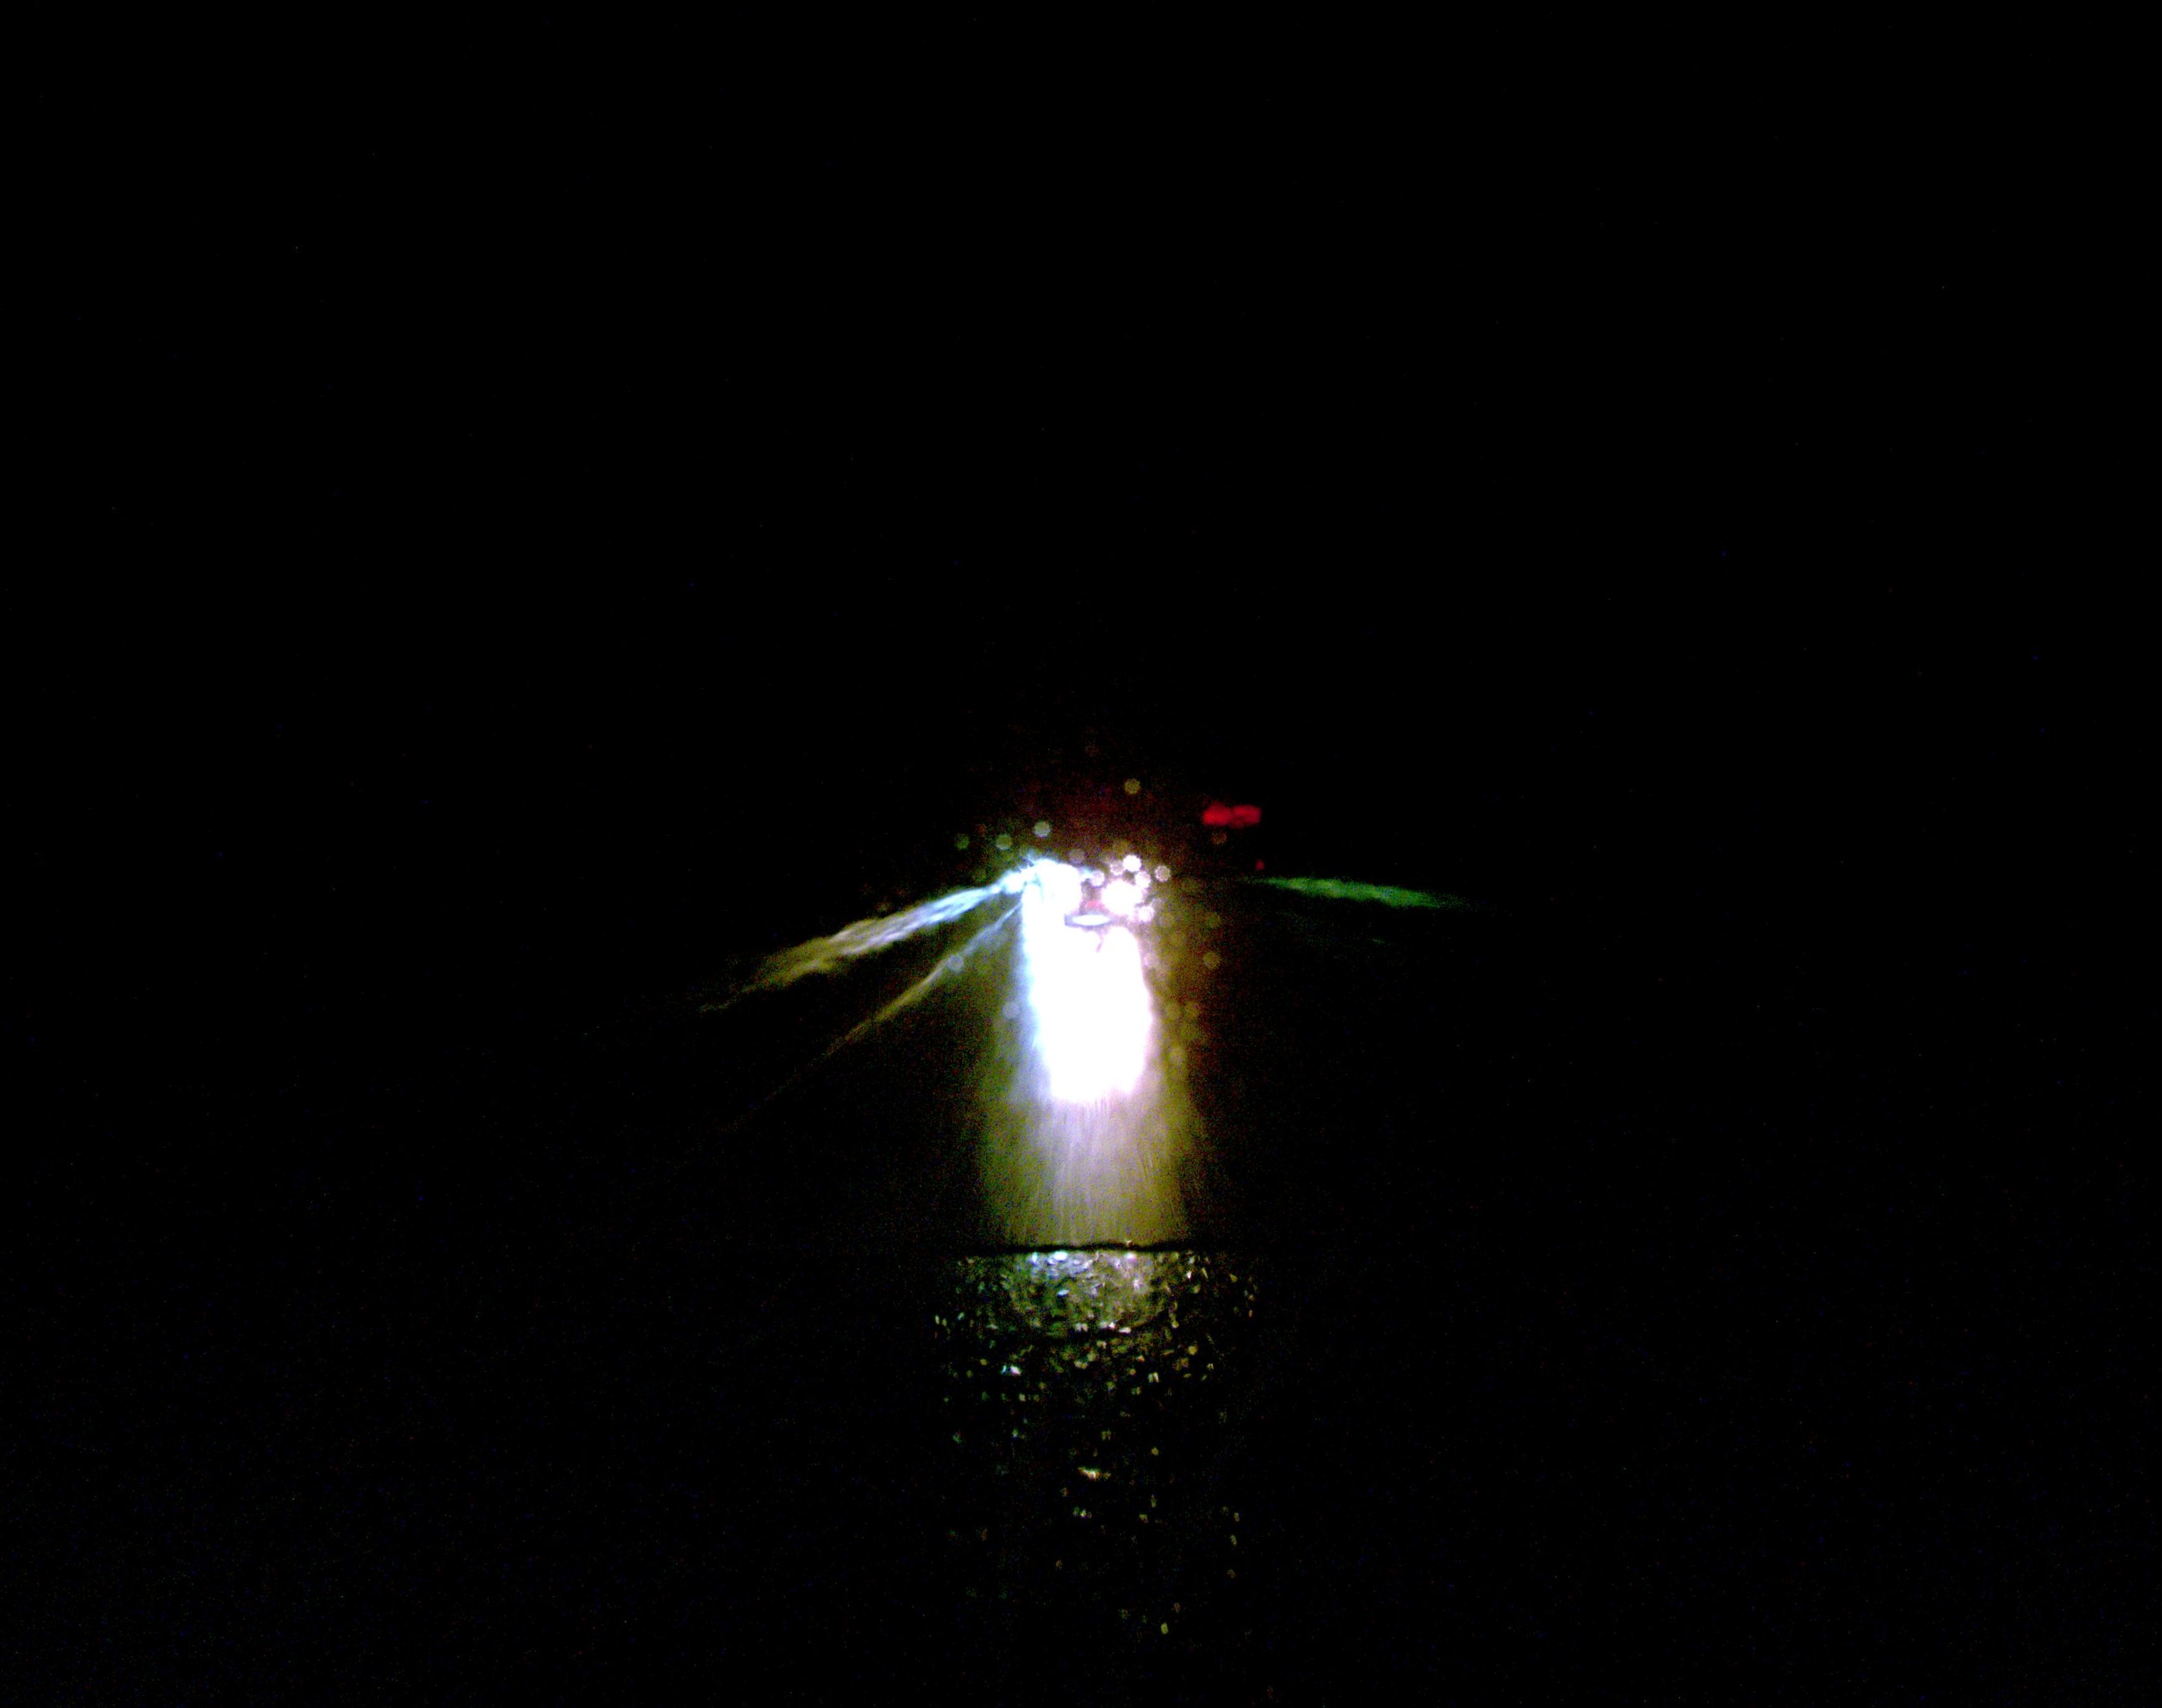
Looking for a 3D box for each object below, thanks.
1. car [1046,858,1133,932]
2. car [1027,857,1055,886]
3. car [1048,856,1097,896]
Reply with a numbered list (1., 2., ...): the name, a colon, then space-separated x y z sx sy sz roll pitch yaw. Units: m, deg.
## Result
1. car: 0.318 0.927 18.971 1.848 1.441 4.000 -3 1 4
2. car: -2.780 1.176 52.848 1.784 1.696 3.998 -3 1 -3
3. car: -0.332 0.922 33.718 1.849 1.441 3.875 -3 1 3
